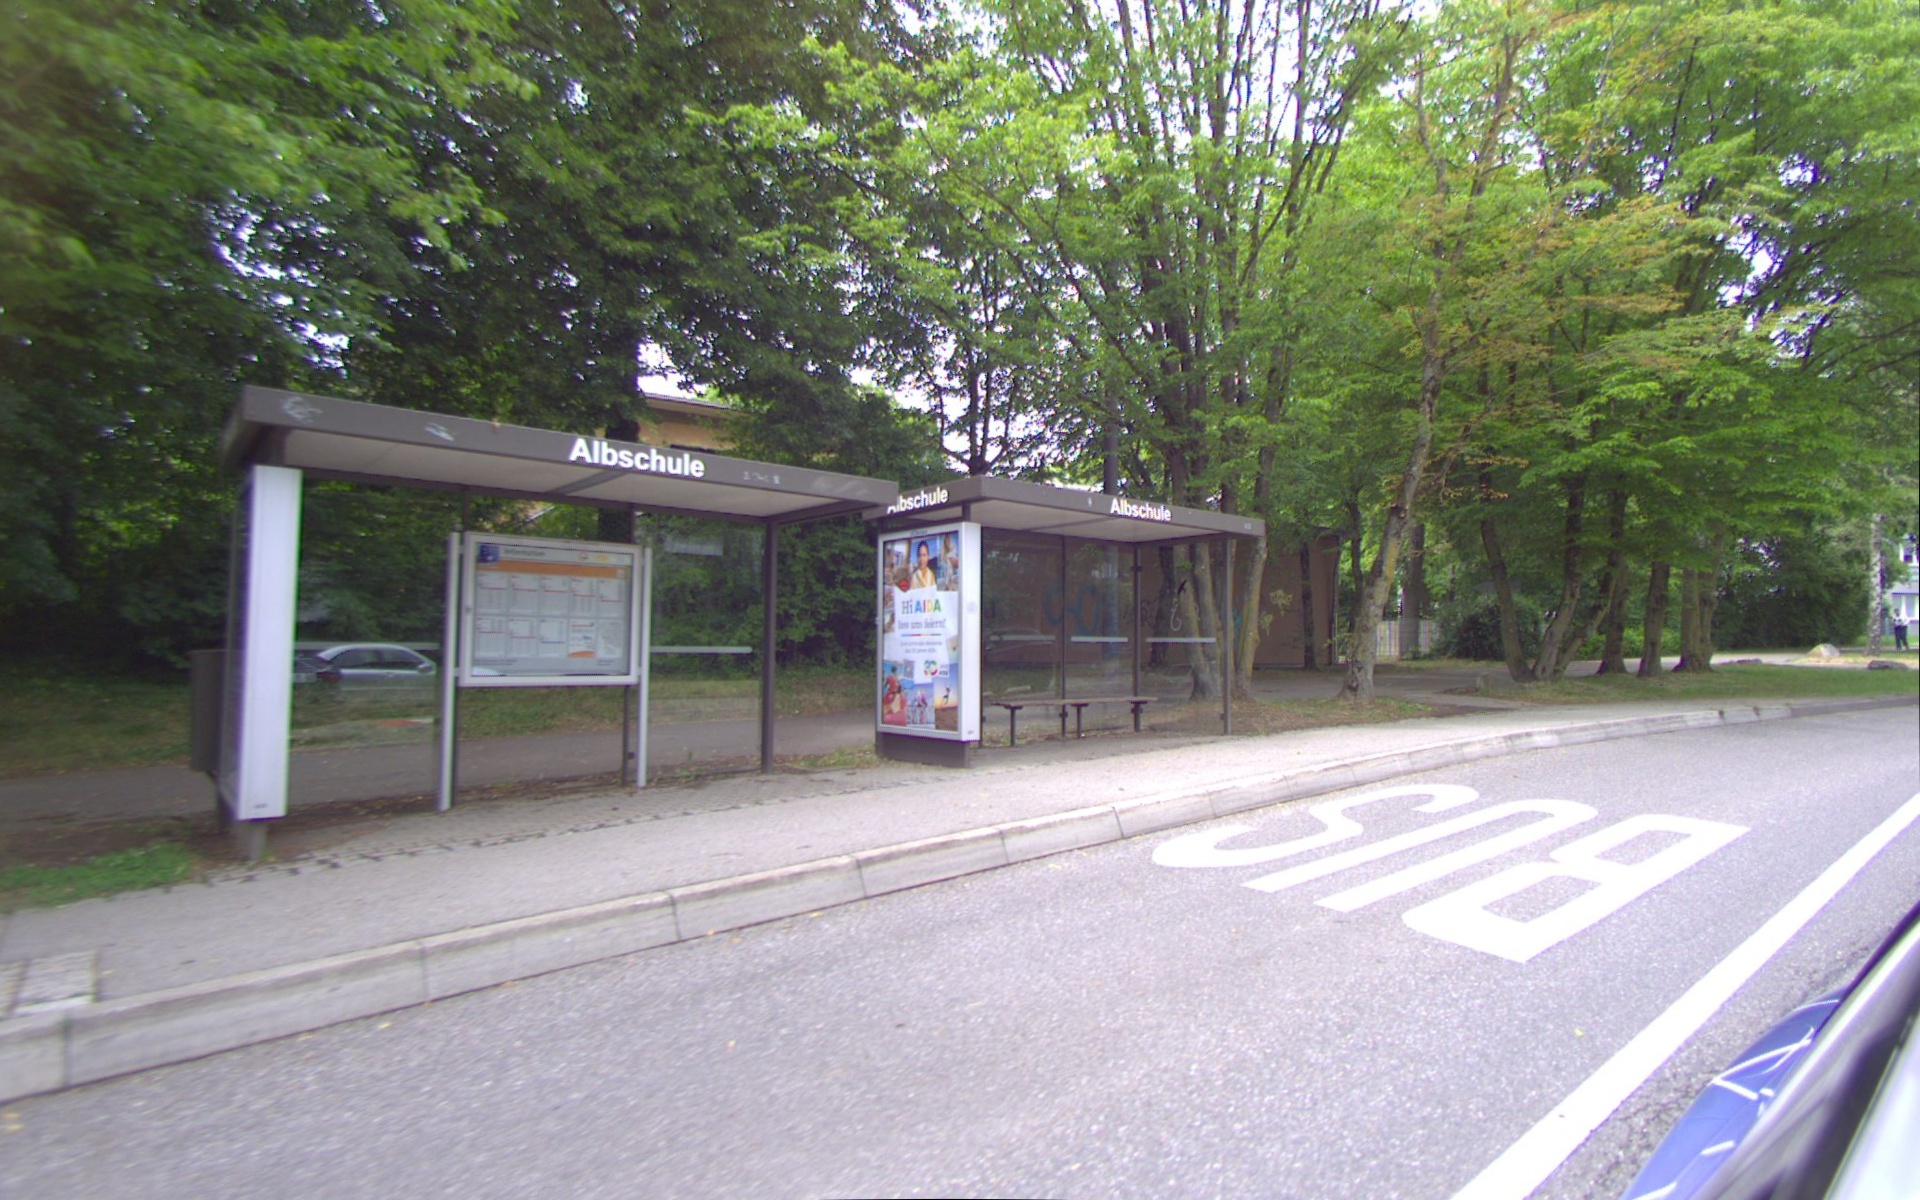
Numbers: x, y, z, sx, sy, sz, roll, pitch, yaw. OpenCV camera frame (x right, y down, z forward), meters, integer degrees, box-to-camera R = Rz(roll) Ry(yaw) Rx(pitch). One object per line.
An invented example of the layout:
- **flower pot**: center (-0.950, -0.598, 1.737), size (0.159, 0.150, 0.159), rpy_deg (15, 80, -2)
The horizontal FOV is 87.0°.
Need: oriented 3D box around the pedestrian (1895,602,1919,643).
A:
- **pedestrian**: center (38.688, 0.910, 41.077), size (0.762, 1.665, 0.695), rpy_deg (0, -1, -11)
